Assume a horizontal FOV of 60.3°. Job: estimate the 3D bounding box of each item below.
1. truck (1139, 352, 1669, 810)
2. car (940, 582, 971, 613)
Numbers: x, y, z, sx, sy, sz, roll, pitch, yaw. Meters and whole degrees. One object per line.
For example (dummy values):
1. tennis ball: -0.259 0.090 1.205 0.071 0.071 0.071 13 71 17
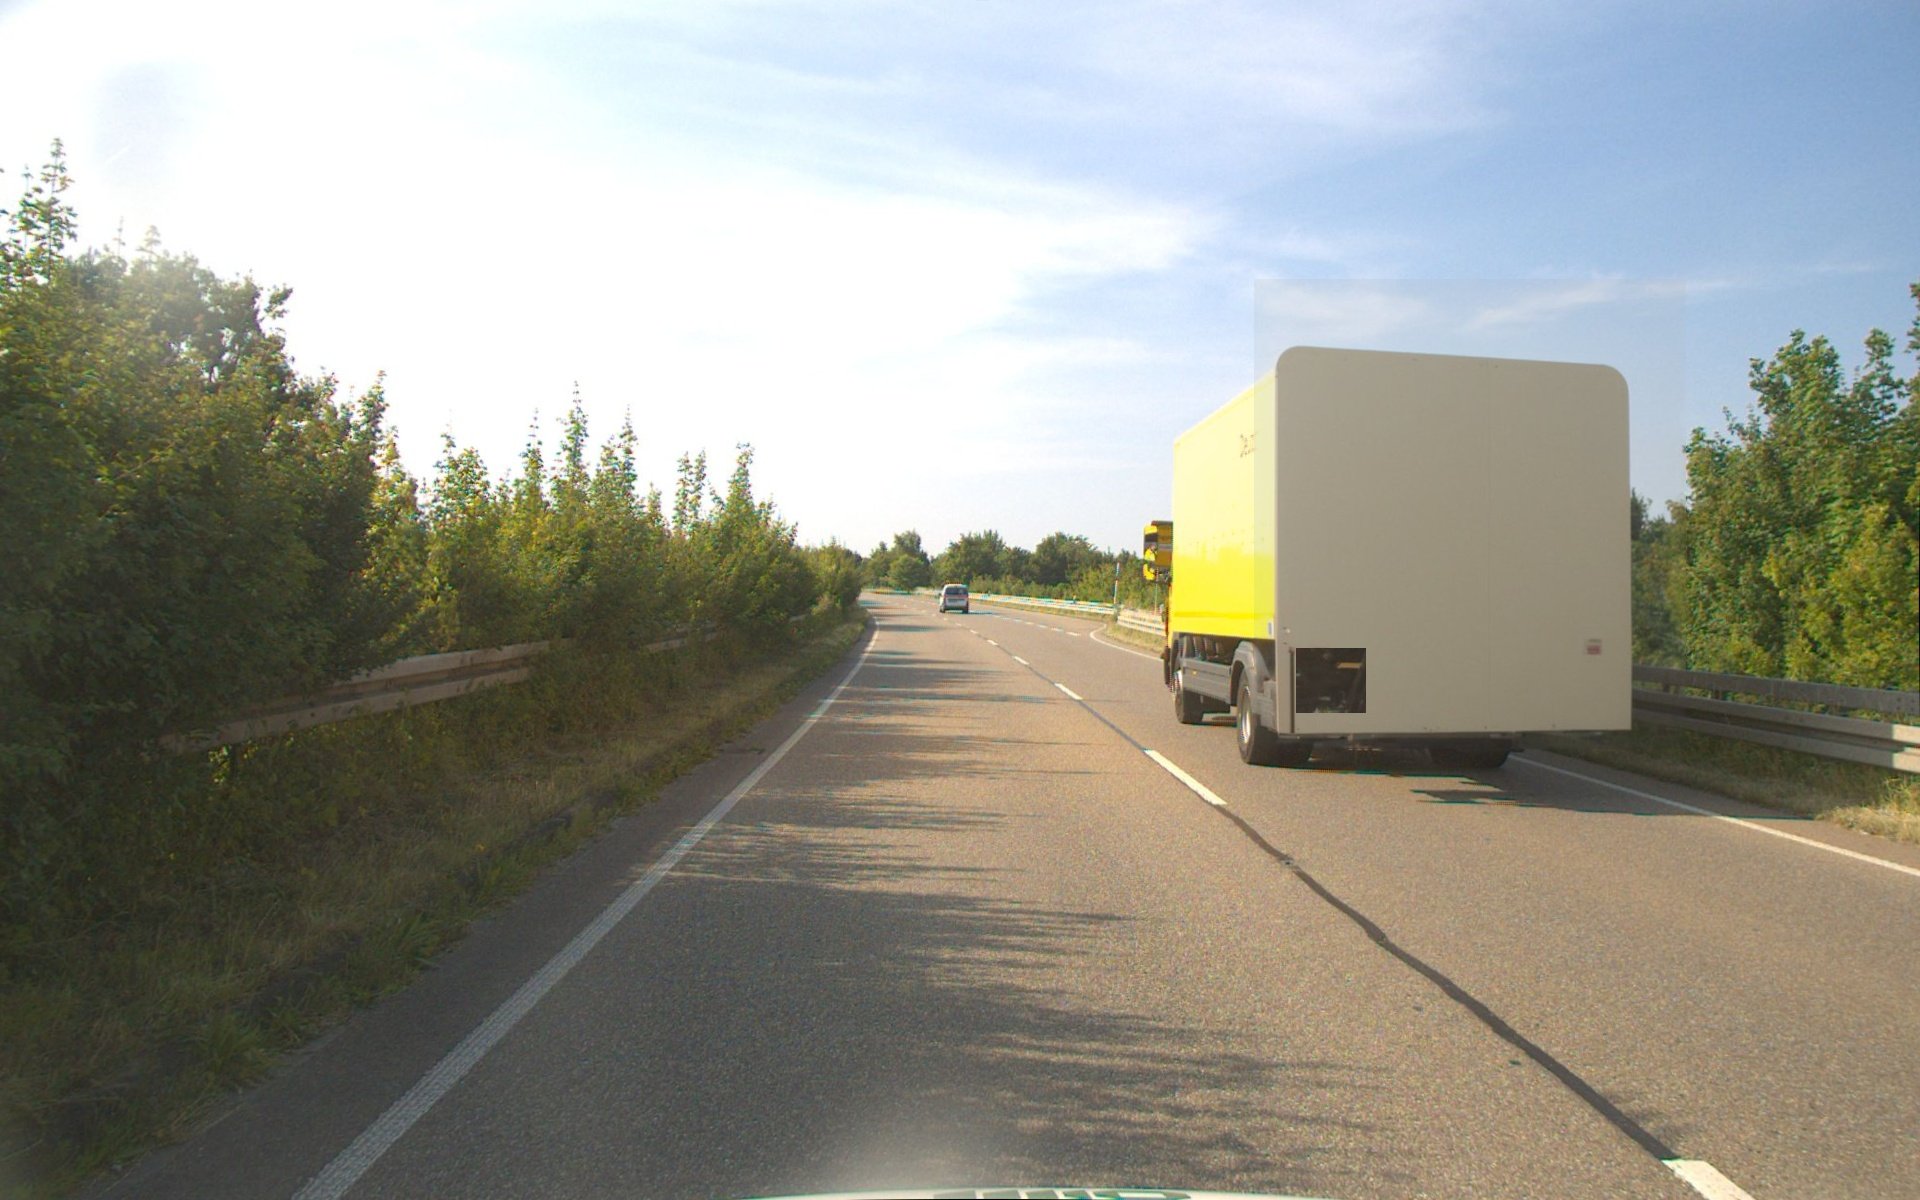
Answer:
1. truck: 3.890 -0.188 17.599 2.722 3.374 10.489 1 0 0
2. car: -0.307 -0.157 105.223 1.730 1.915 3.997 1 0 -3
